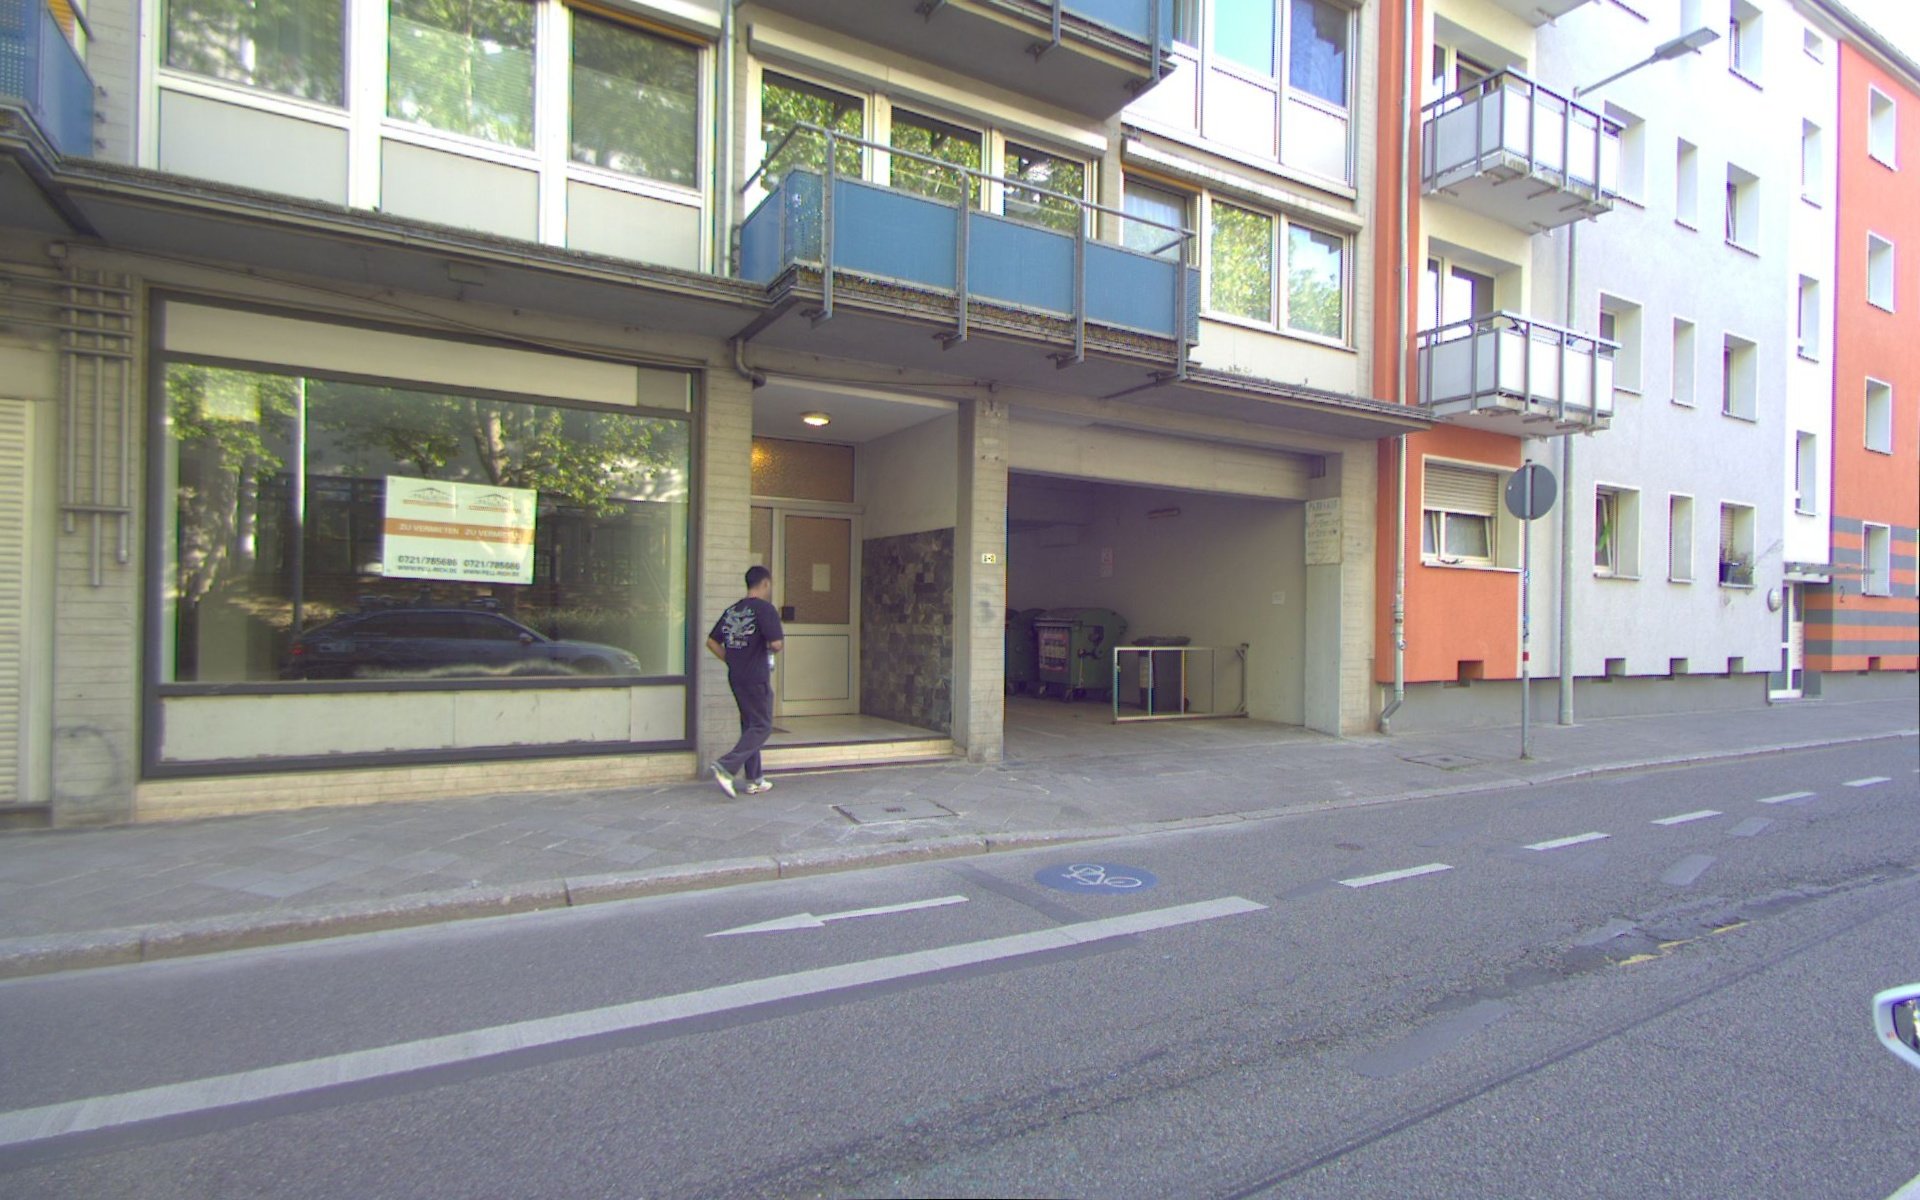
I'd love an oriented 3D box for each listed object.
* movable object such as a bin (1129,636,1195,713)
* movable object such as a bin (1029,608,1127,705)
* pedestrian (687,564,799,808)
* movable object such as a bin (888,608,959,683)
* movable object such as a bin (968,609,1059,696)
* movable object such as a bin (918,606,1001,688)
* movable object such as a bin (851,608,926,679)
[{"bbox_3d":[2.907,1.055,14.473,0.704,1.054,0.583,1,0,-30],"label":"movable object such as a bin"},{"bbox_3d":[1.840,0.855,15.832,1.009,1.438,1.321,1,0,-23],"label":"movable object such as a bin"},{"bbox_3d":[-1.643,0.624,7.627,0.618,1.764,0.527,1,0,23],"label":"pedestrian"},{"bbox_3d":[-0.724,0.871,19.690,1.012,1.409,1.046,1,0,-31],"label":"movable object such as a bin"},{"bbox_3d":[0.901,0.873,17.165,1.011,1.409,1.319,1,0,-27],"label":"movable object such as a bin"},{"bbox_3d":[-0.021,0.851,18.674,1.011,1.462,1.318,1,0,-29],"label":"movable object such as a bin"},{"bbox_3d":[-1.486,0.873,20.664,1.014,1.409,1.264,1,0,-37],"label":"movable object such as a bin"}]
